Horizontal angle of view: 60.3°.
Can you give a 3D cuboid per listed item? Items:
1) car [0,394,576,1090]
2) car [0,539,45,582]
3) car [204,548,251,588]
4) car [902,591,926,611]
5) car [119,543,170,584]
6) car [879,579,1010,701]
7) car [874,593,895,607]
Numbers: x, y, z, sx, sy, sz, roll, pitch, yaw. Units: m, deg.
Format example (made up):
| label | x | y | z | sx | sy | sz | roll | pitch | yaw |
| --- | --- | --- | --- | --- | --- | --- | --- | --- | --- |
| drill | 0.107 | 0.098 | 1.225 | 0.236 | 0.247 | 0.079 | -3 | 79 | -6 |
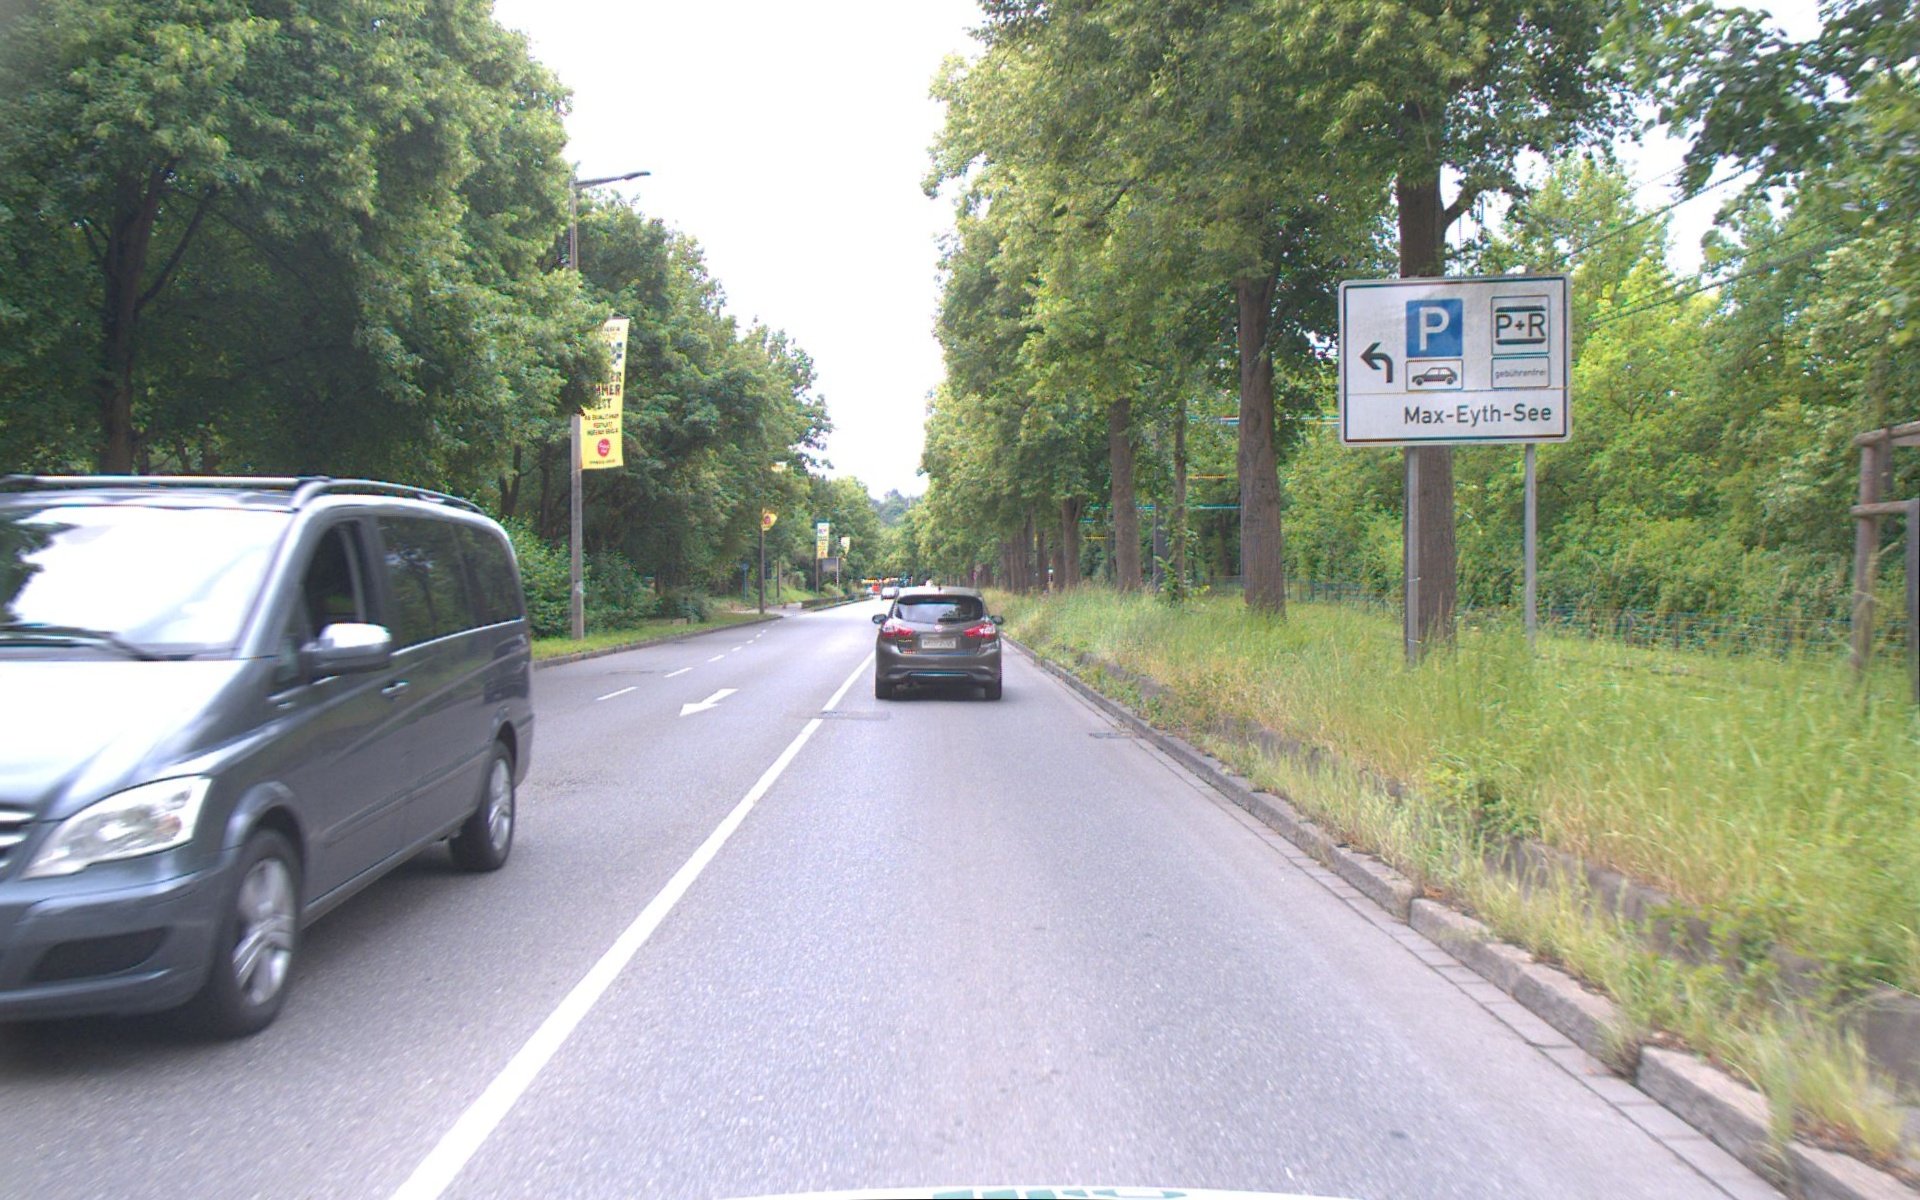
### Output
| label | x | y | z | sx | sy | sz | roll | pitch | yaw |
| --- | --- | --- | --- | --- | --- | --- | --- | --- | --- |
| car | -3.264 | 0.404 | 7.315 | 1.953 | 1.989 | 5.183 | 0 | 0 | -1 |
| car | -34.974 | -1.438 | 61.191 | 1.625 | 1.512 | 3.969 | 1 | 0 | -25 |
| car | -29.069 | -1.252 | 65.600 | 1.625 | 1.512 | 3.969 | 1 | 0 | -25 |
| car | -3.489 | 0.051 | 125.129 | 1.531 | 1.466 | 3.548 | 1 | 0 | -5 |
| car | -31.749 | -1.390 | 64.441 | 1.625 | 1.512 | 3.969 | 1 | 0 | -25 |
| car | -0.256 | 0.515 | 23.503 | 1.695 | 1.564 | 3.550 | 1 | 0 | -2 |
| car | -8.667 | 0.012 | 189.985 | 1.680 | 1.453 | 4.200 | -2 | 0 | 8 |
